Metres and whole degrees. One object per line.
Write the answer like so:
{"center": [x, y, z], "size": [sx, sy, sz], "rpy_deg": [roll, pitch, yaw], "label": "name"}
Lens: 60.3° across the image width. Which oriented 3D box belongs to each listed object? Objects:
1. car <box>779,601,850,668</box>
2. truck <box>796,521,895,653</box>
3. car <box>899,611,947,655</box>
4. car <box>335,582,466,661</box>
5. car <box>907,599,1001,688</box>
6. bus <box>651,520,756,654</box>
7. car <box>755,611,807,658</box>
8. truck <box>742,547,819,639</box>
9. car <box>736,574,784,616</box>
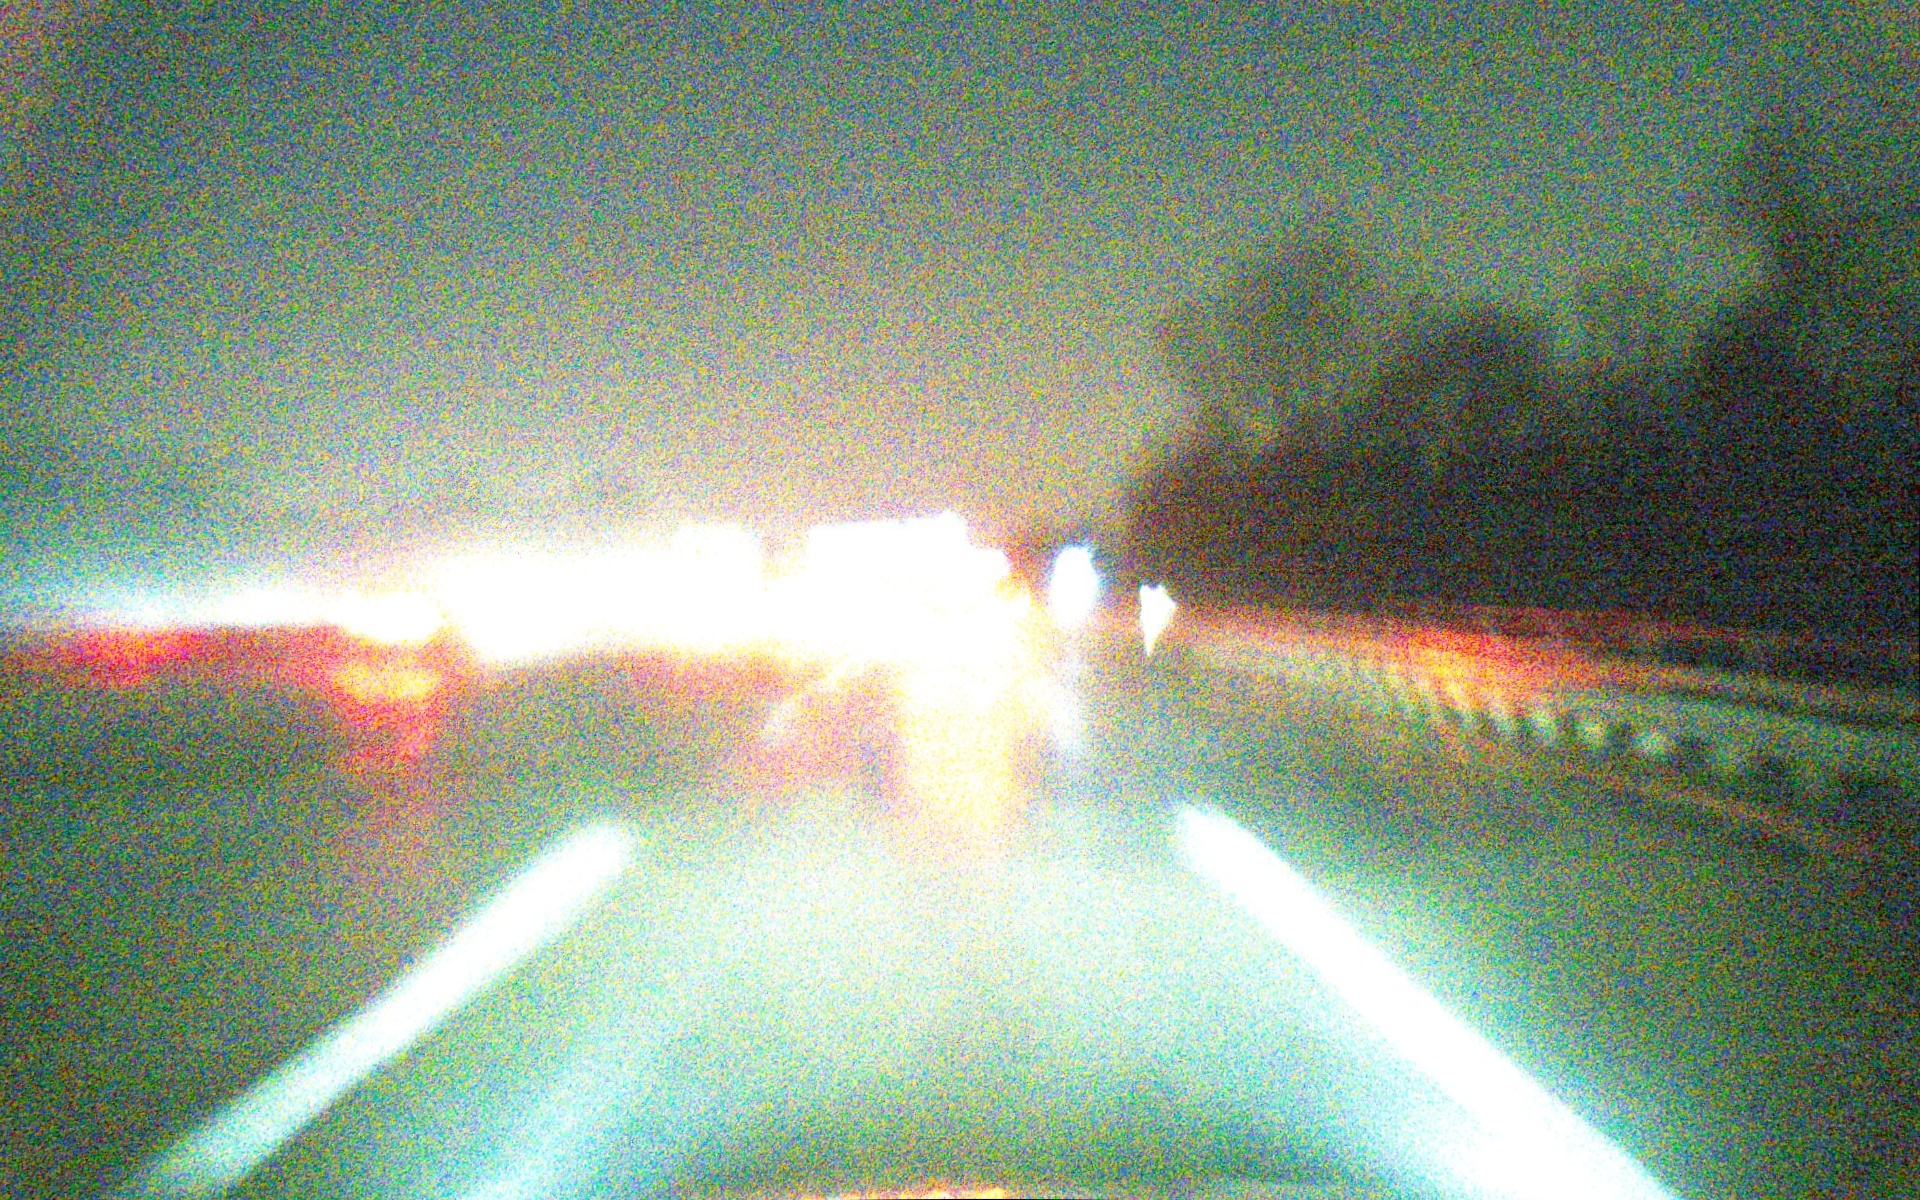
{"center": [-4.604, 1.070, 52.873], "size": [2.084, 2.049, 4.642], "rpy_deg": [1, 0, -4], "label": "car"}
{"center": [-5.235, -0.532, 78.160], "size": [4.125, 5.747, 11.462], "rpy_deg": [1, 0, -2], "label": "truck"}
{"center": [-1.808, 1.543, 78.792], "size": [2.084, 2.049, 4.642], "rpy_deg": [1, 0, -4], "label": "car"}
{"center": [-12.273, 0.456, 36.527], "size": [1.956, 1.624, 3.993], "rpy_deg": [1, 0, -8], "label": "car"}
{"center": [-0.164, 0.929, 36.526], "size": [1.953, 1.839, 3.999], "rpy_deg": [1, 0, -1], "label": "car"}
{"center": [-9.500, -0.414, 62.470], "size": [3.036, 4.587, 10.902], "rpy_deg": [1, 0, -5], "label": "bus"}
{"center": [-7.351, 1.404, 68.079], "size": [1.954, 1.839, 3.996], "rpy_deg": [1, 0, -4], "label": "car"}
{"center": [-11.716, -0.388, 109.480], "size": [4.125, 5.747, 11.462], "rpy_deg": [1, 0, -2], "label": "truck"}
{"center": [-8.916, -0.205, 73.959], "size": [1.954, 1.839, 3.996], "rpy_deg": [1, 0, -4], "label": "car"}
